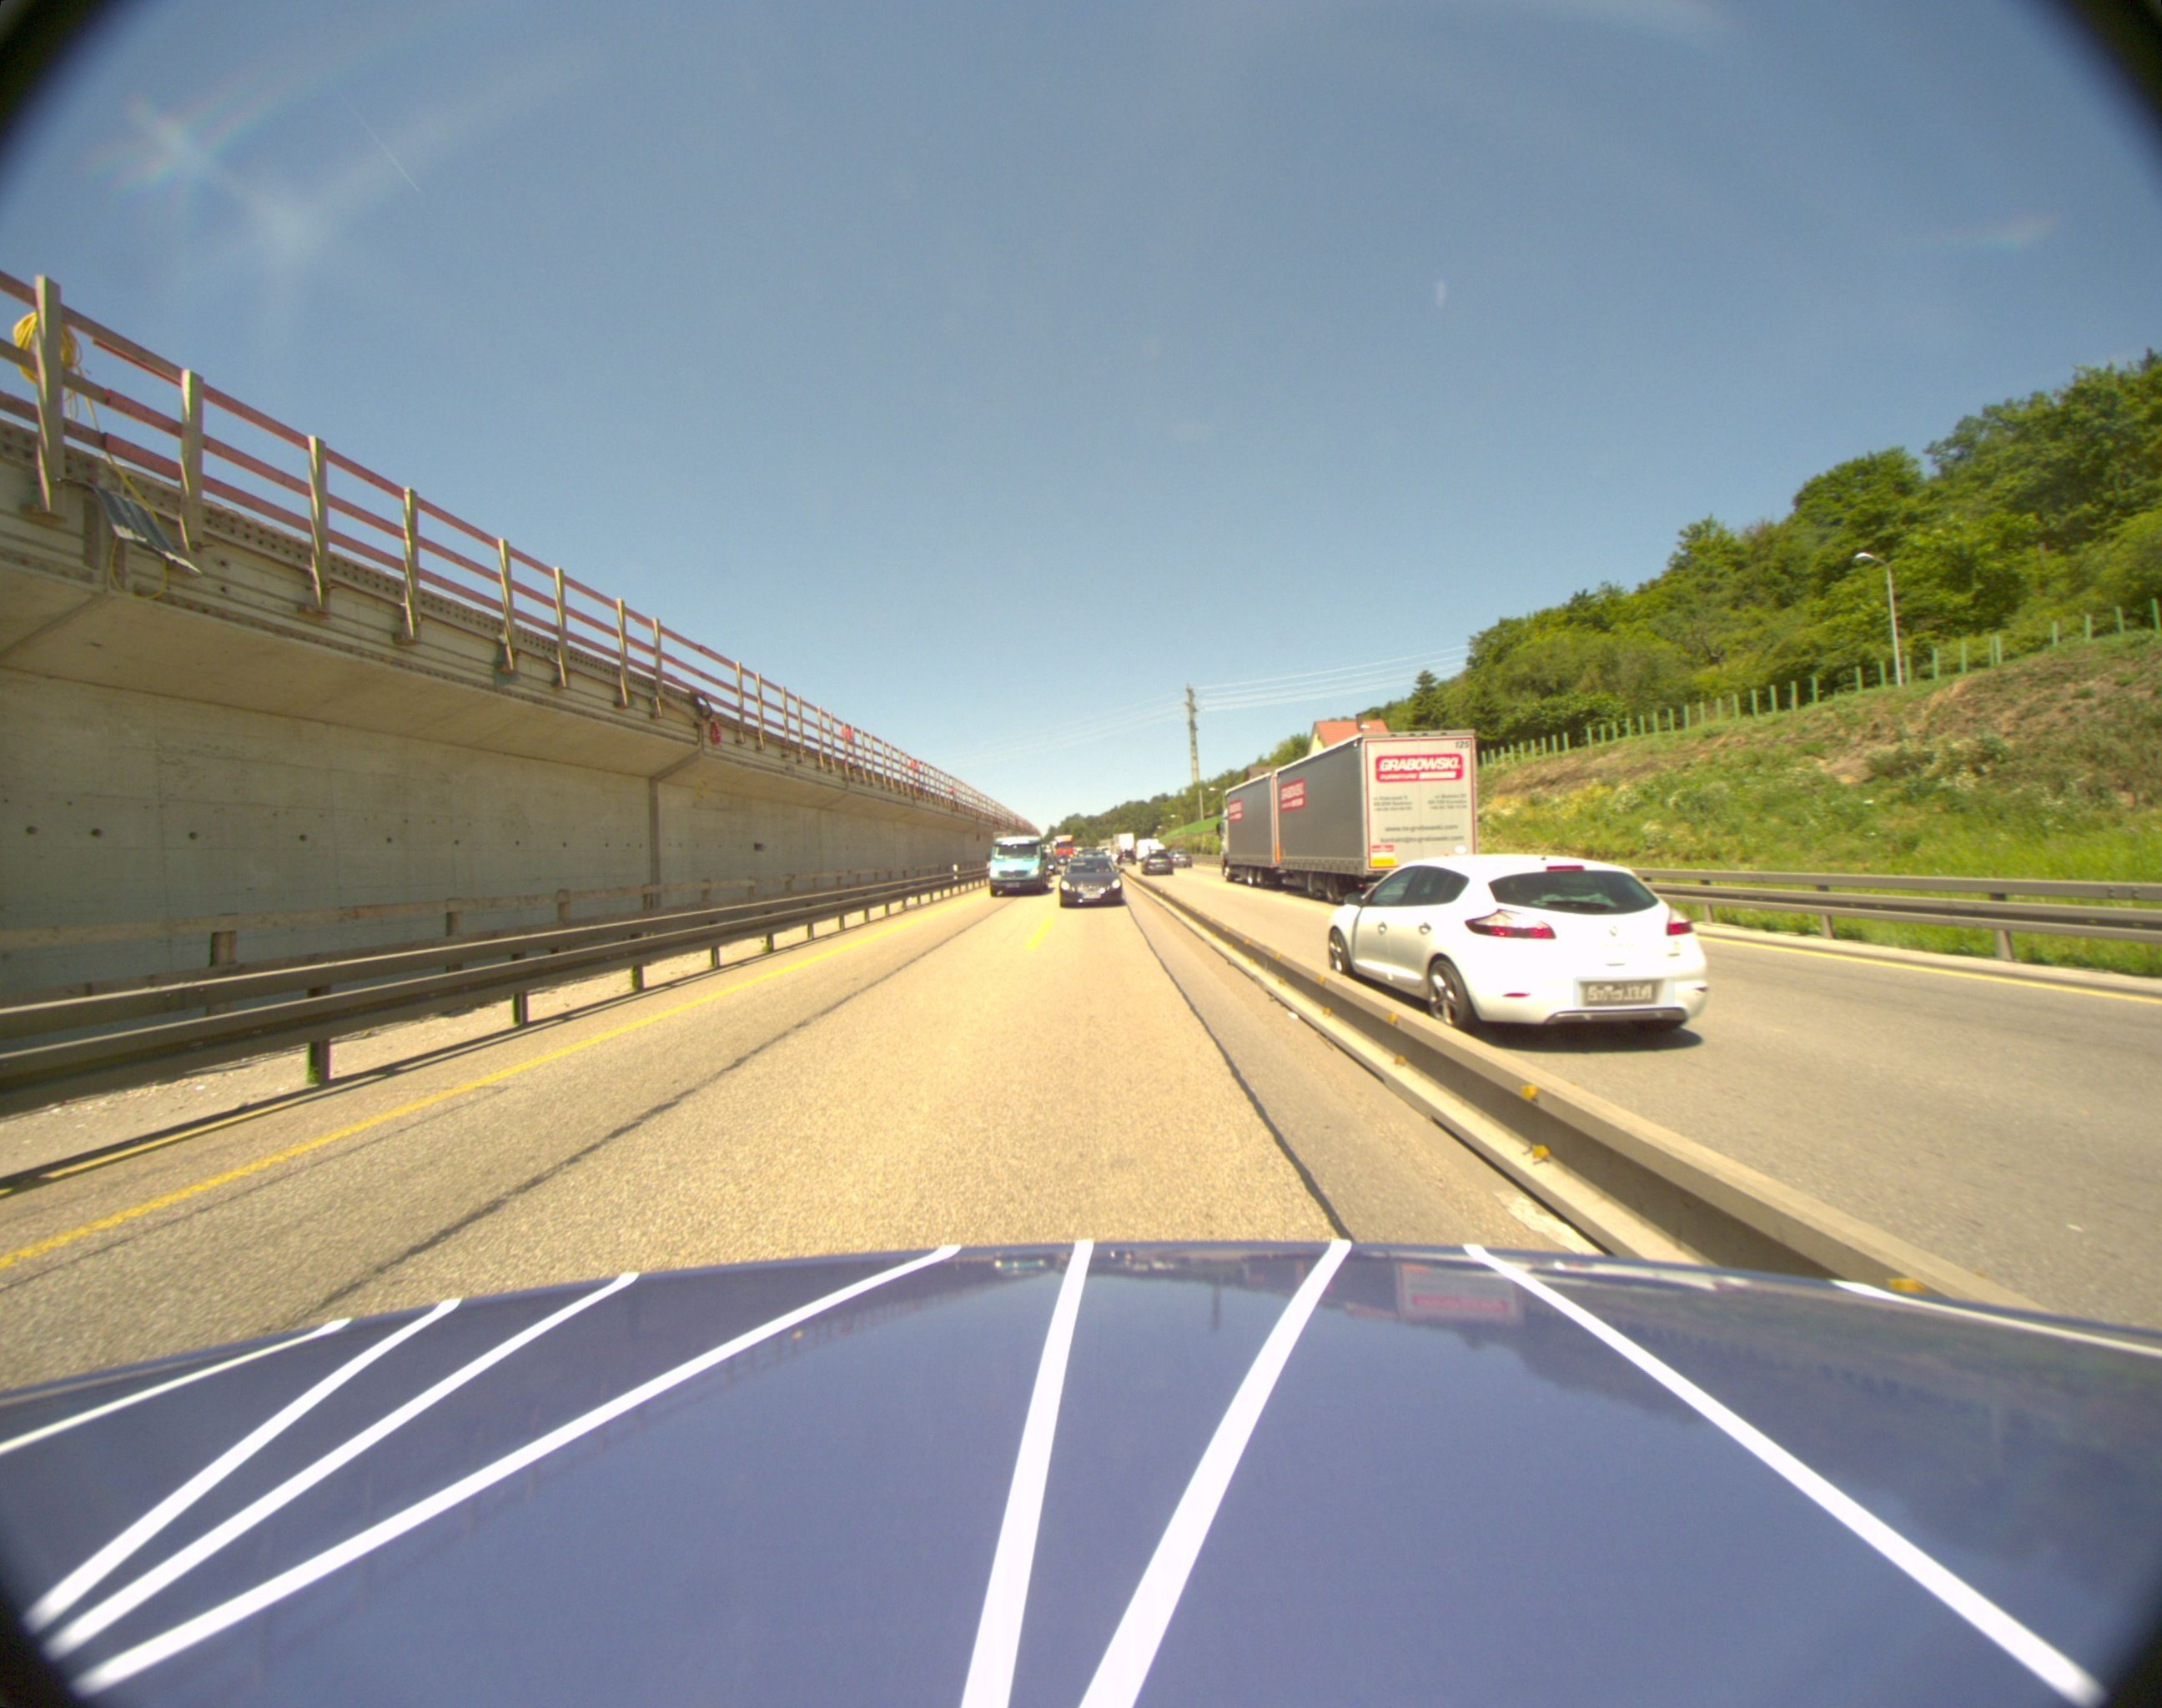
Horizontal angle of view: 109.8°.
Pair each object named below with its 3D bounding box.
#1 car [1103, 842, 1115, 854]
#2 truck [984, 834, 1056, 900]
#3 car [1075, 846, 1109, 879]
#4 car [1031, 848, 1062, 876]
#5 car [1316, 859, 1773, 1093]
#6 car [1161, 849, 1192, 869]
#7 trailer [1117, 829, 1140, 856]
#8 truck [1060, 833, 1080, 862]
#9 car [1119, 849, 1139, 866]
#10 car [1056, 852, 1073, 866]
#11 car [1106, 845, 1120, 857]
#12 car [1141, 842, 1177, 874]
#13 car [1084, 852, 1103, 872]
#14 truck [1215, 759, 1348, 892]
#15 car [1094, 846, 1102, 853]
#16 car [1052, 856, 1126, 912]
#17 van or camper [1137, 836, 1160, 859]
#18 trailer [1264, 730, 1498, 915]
[{"bbox_3d":[4.886,-1.075,134.101,1.998,2.002,4.166,-2,1,1],"label":"car"},{"bbox_3d":[-2.352,0.396,31.602,2.139,2.344,7.432,-2,1,1],"label":"truck"},{"bbox_3d":[0.720,0.443,45.758,1.884,1.805,4.250,-2,1,3],"label":"car"},{"bbox_3d":[-2.411,0.530,54.196,1.885,1.805,4.250,-2,1,1],"label":"car"},{"bbox_3d":[3.702,0.830,7.057,1.807,1.455,4.000,-2,0,1],"label":"car"},{"bbox_3d":[7.943,0.391,63.526,1.998,1.499,5.300,-2,1,1],"label":"car"},{"bbox_3d":[8.439,-2.095,136.814,3.111,4.416,14.626,-2,1,1],"label":"trailer"},{"bbox_3d":[-1.628,-1.063,118.112,2.750,4.222,9.093,-2,1,1],"label":"truck"},{"bbox_3d":[4.976,0.311,79.360,1.875,1.674,4.000,-2,0,1],"label":"car"},{"bbox_3d":[-1.992,0.581,94.172,1.883,1.532,4.281,-2,1,1],"label":"car"},{"bbox_3d":[4.185,-0.433,99.920,1.671,1.442,3.905,-2,1,1],"label":"car"},{"bbox_3d":[4.877,0.236,48.104,1.854,1.879,4.501,-2,0,1],"label":"car"},{"bbox_3d":[1.369,0.862,83.747,1.998,2.002,3.999,-3,1,1],"label":"car"},{"bbox_3d":[7.638,-0.998,30.671,2.627,4.371,10.384,-2,1,1],"label":"truck"},{"bbox_3d":[4.354,-1.135,191.348,1.884,1.805,4.000,-2,1,3],"label":"car"},{"bbox_3d":[0.281,0.830,23.380,1.998,1.440,4.601,-2,0,1],"label":"car"},{"bbox_3d":[8.455,-0.848,95.348,2.356,2.619,6.901,-2,1,1],"label":"van or camper"},{"bbox_3d":[7.682,-0.717,21.123,2.936,3.965,8.705,-2,1,0],"label":"trailer"}]
